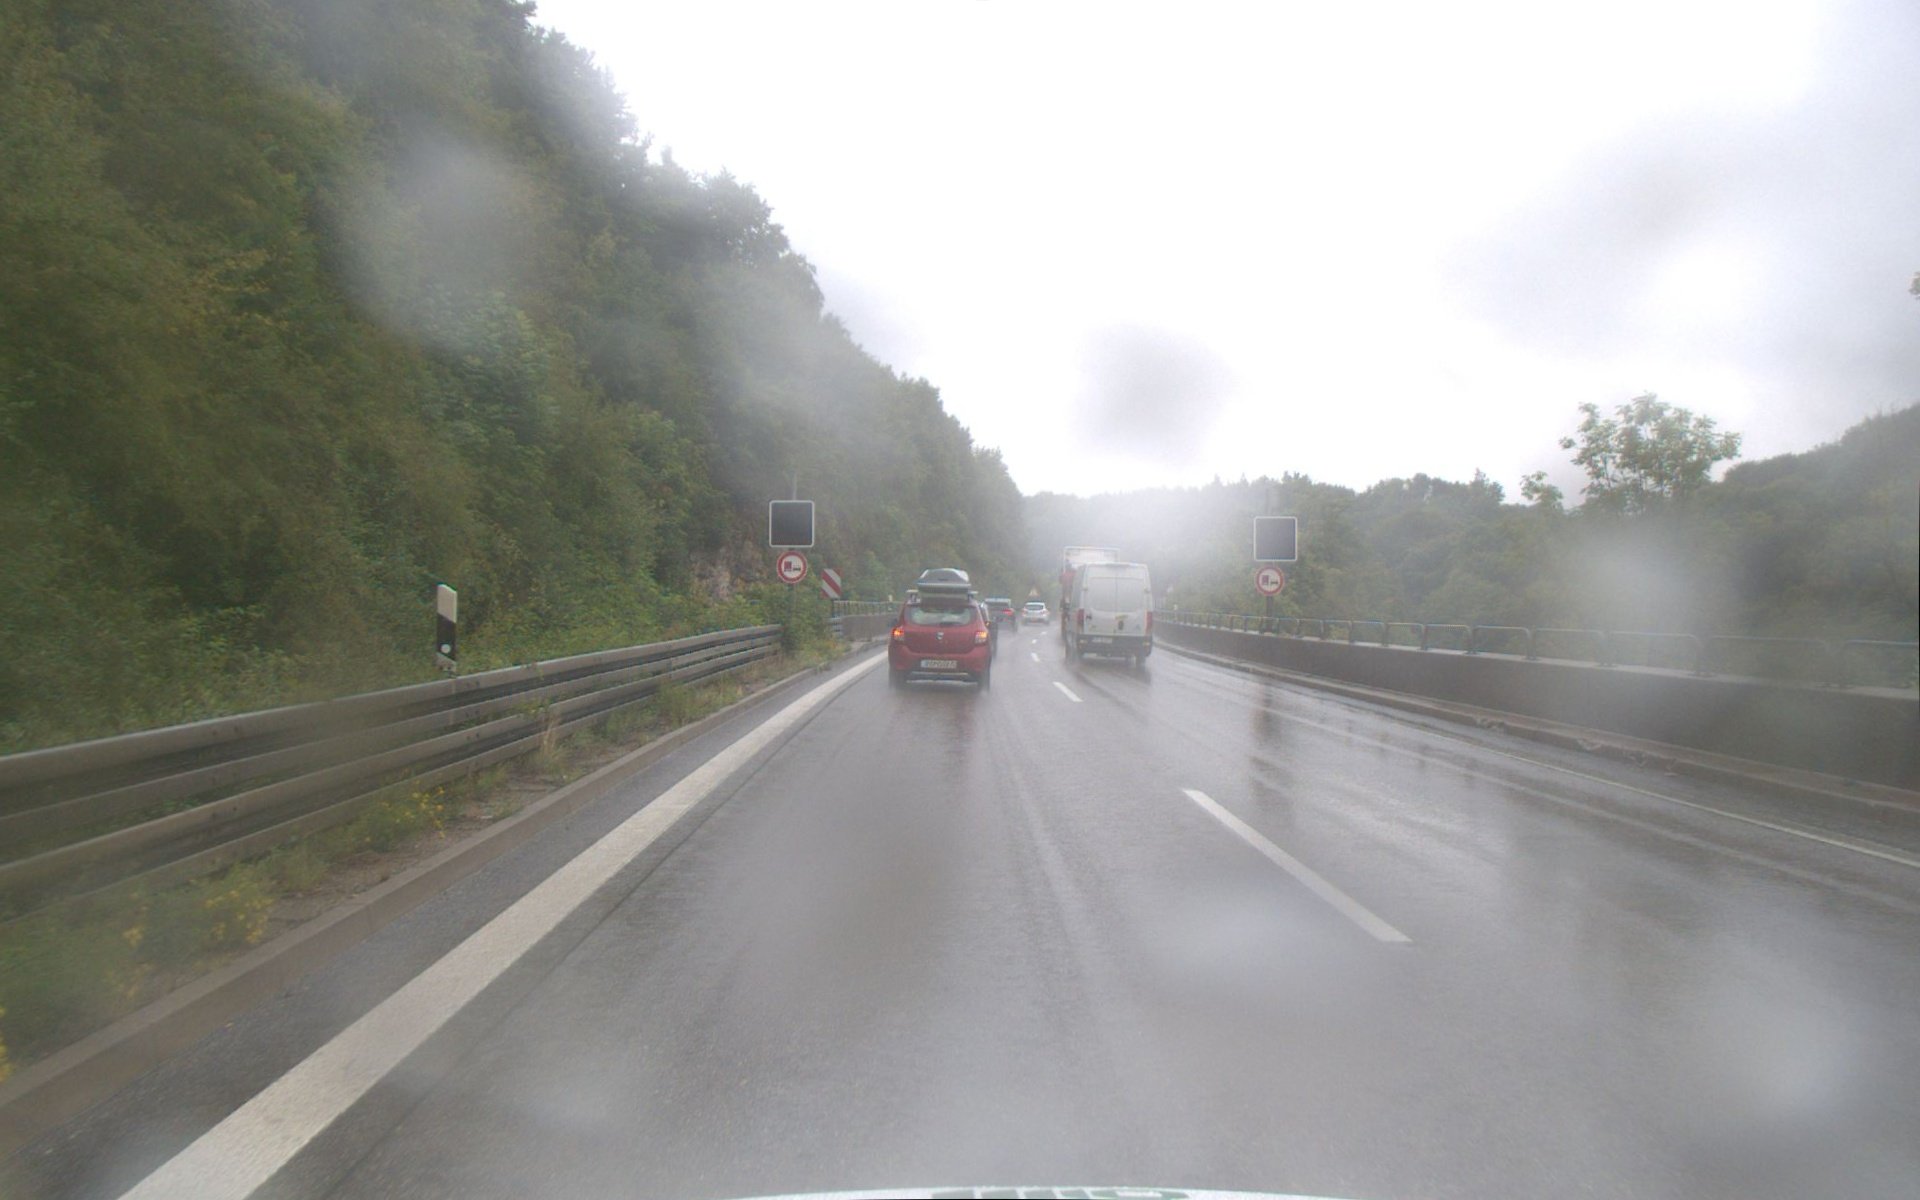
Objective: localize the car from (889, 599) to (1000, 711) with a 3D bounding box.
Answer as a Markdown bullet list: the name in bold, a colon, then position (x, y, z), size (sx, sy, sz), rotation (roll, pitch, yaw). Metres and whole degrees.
- **car**: position (-0.264, 0.889, 28.286), size (1.722, 1.714, 3.999), rotation (-2, -1, -1)

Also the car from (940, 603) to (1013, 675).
- **car**: position (0.424, 0.995, 43.331), size (1.795, 1.745, 3.645), rotation (-2, -1, 0)

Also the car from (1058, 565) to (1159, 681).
- **car**: position (3.933, 0.572, 45.056), size (2.160, 2.843, 7.383), rotation (1, 0, 1)

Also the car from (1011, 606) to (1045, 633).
- **car**: position (4.479, 1.262, 107.995), size (1.951, 1.668, 4.002), rotation (-2, -1, 5)

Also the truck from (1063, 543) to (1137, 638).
- **truck**: position (6.169, -0.389, 73.228), size (3.152, 4.048, 5.441), rotation (0, 0, 4)

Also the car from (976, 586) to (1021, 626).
- **car**: position (1.784, 0.297, 76.260), size (1.835, 1.736, 3.890), rotation (-2, -1, 4)

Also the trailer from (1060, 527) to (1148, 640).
- **trailer**: position (5.658, -0.566, 66.137), size (3.150, 4.069, 13.530), rotation (0, 0, 4)
